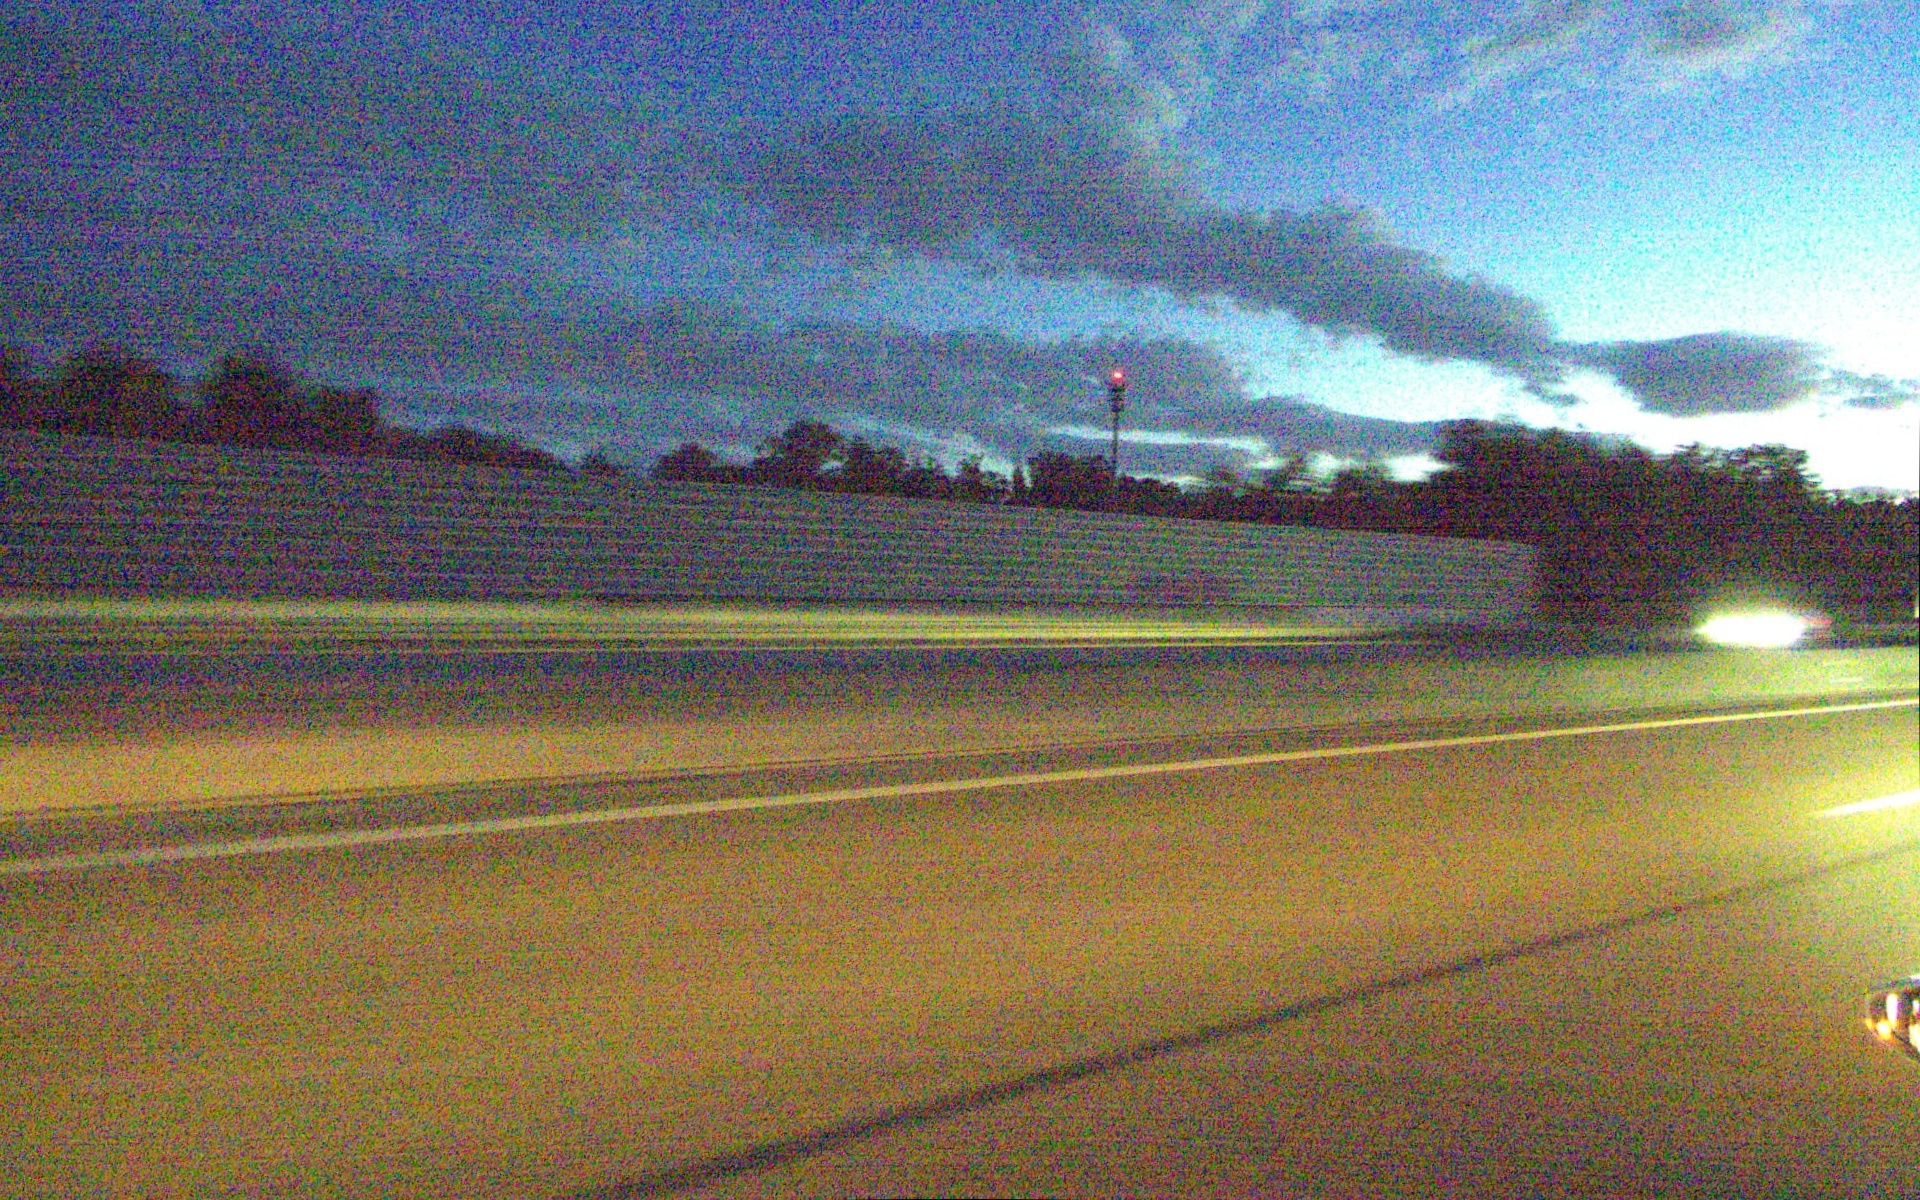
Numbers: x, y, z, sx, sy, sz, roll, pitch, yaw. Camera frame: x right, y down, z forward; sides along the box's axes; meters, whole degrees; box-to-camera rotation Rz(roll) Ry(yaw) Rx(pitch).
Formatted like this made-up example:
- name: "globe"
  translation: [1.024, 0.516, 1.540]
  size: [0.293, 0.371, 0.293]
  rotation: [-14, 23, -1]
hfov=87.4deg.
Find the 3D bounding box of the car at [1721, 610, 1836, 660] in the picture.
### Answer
- name: "car"
  translation: [30.599, 1.308, 37.521]
  size: [4.619, 1.716, 1.814]
  rotation: [2, -1, -30]
